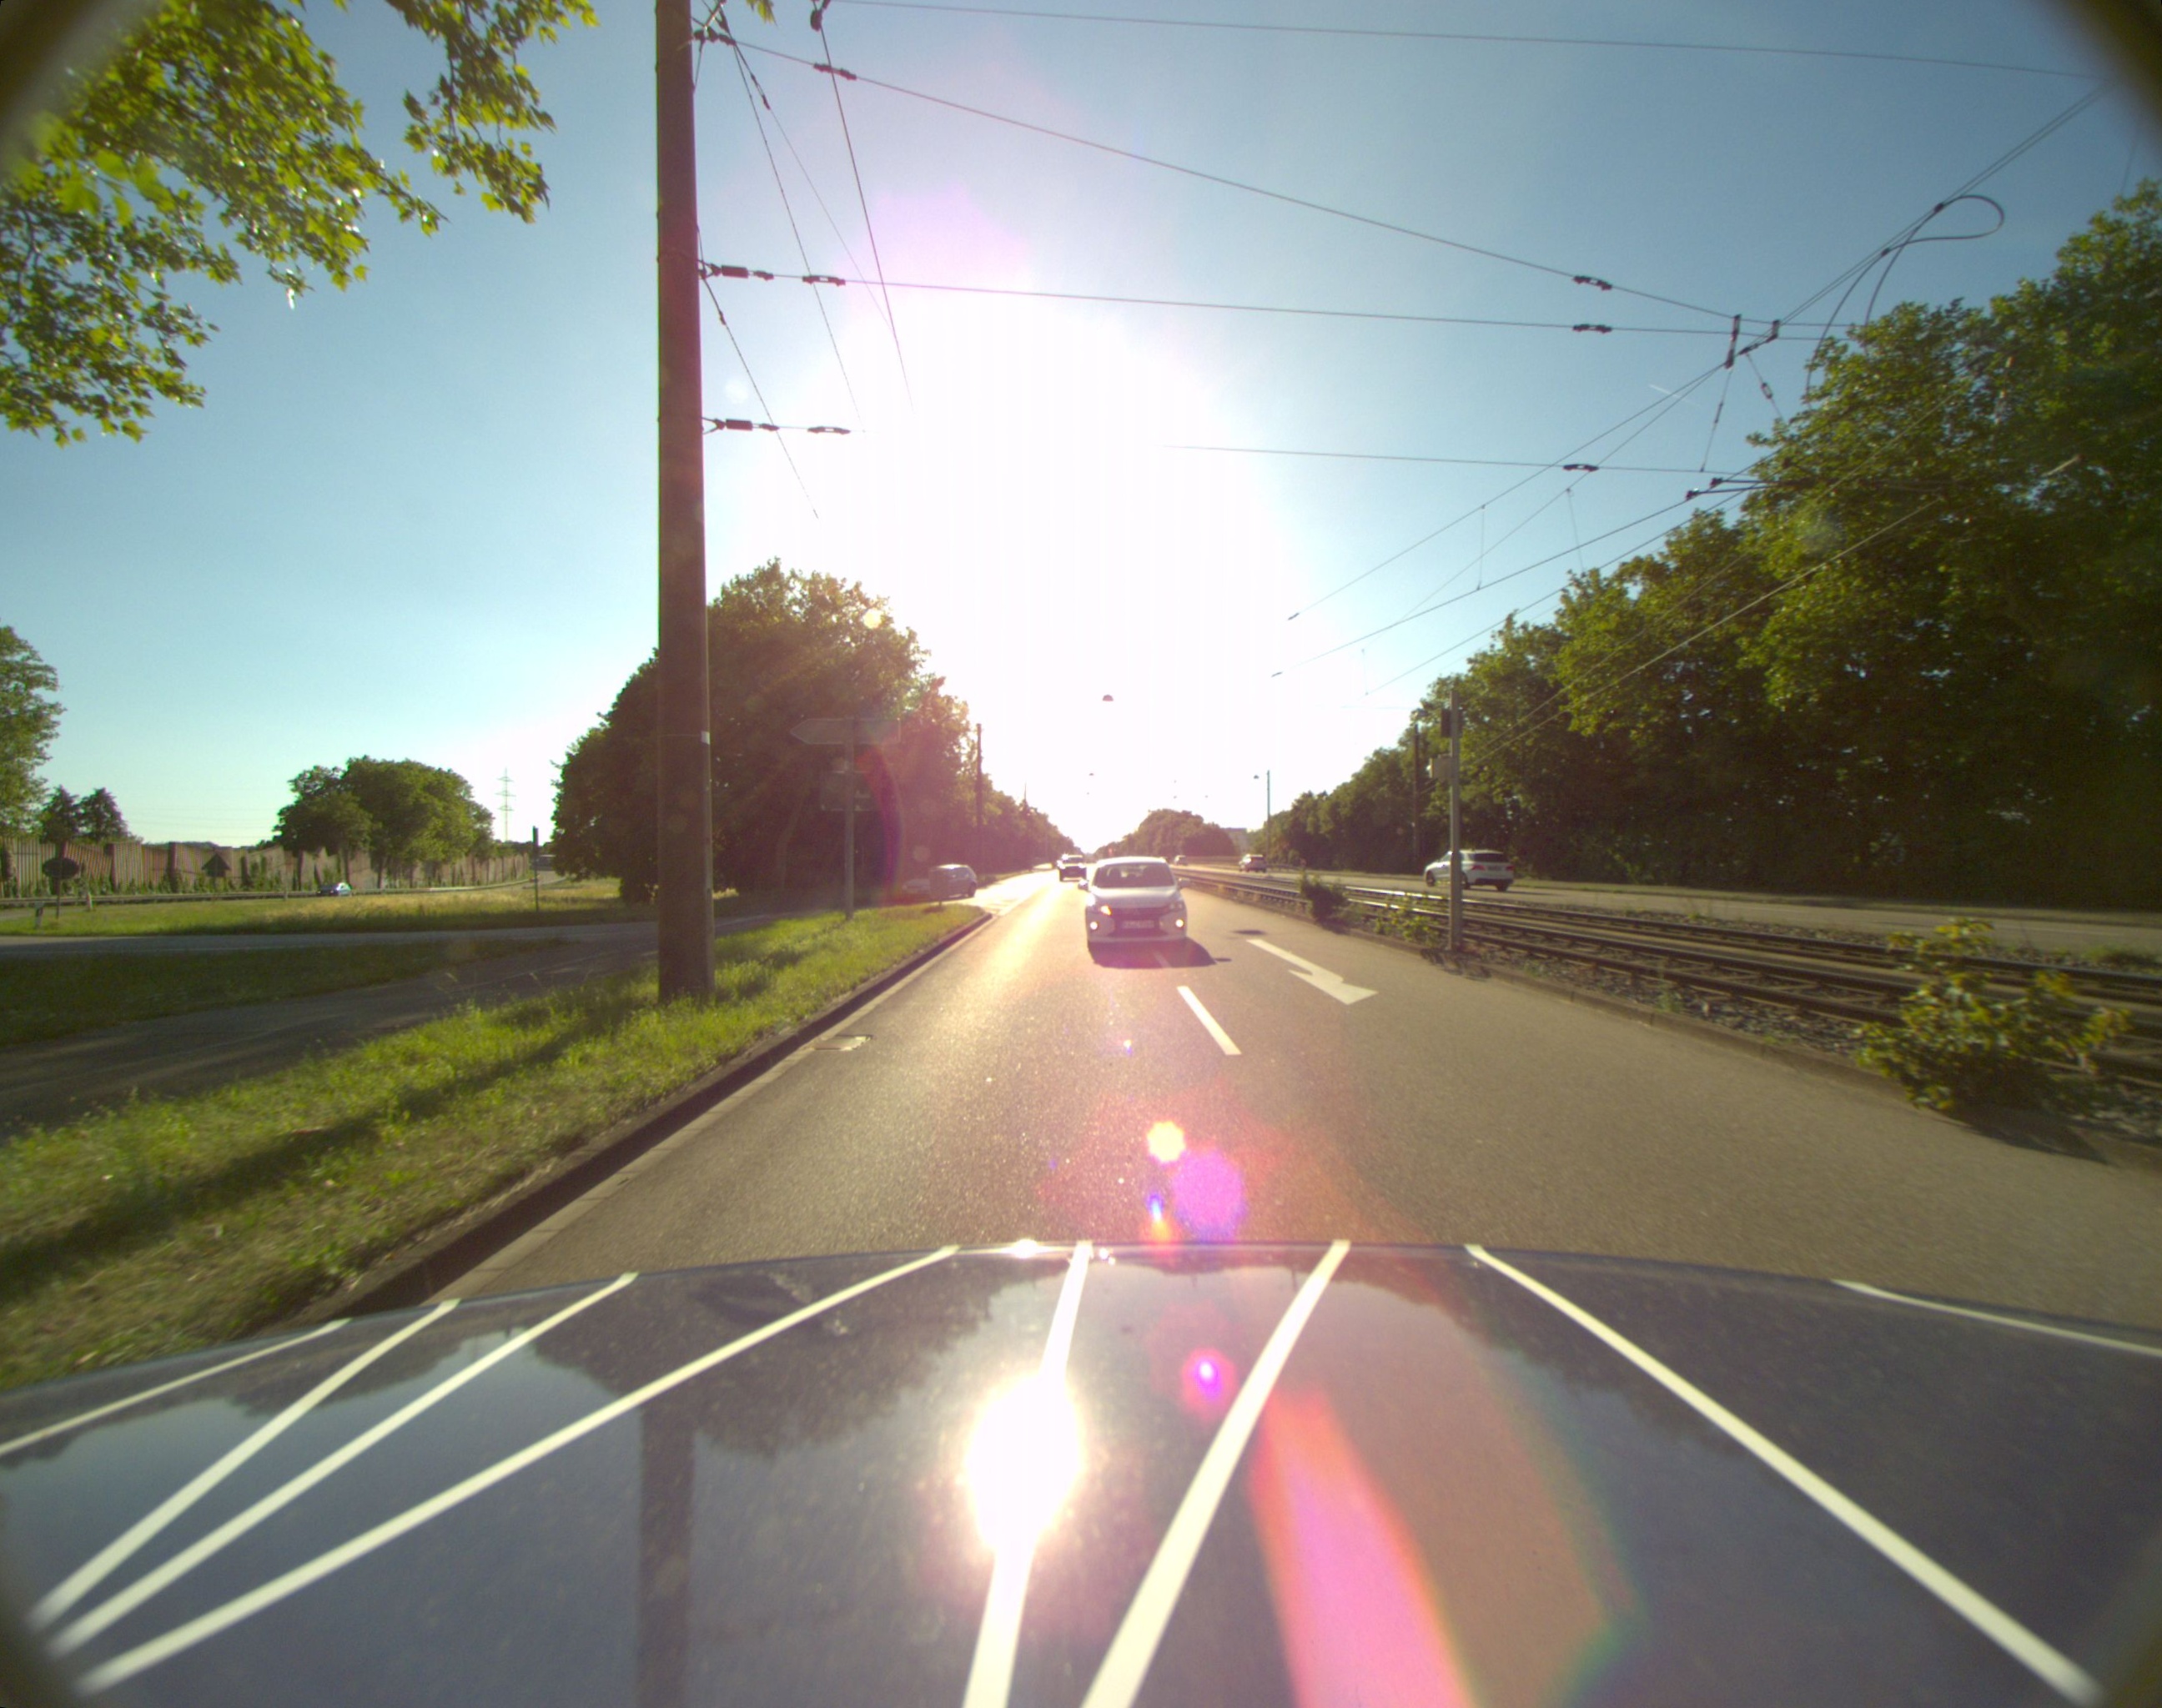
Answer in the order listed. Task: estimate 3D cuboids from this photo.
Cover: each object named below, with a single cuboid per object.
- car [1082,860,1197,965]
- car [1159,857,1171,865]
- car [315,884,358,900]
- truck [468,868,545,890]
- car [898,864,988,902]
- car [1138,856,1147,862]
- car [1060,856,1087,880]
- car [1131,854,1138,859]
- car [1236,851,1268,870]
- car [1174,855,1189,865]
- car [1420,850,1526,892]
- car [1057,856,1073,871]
[{"bbox_3d":[0.909,0.907,13.504,1.709,1.503,3.862,-2,0,0],"label":"car"},{"bbox_3d":[15.583,1.331,141.008,1.661,1.424,4.501,1,0,0],"label":"car"},{"bbox_3d":[-75.908,3.866,77.515,1.801,1.432,4.215,-2,1,-25],"label":"car"},{"bbox_3d":[-102.779,4.539,136.213,10.627,3.474,2.645,3,-1,-29],"label":"truck"},{"bbox_3d":[-5.882,1.201,32.841,1.690,1.409,4.142,-1,1,26],"label":"car"},{"bbox_3d":[15.253,1.248,188.412,1.759,1.406,4.876,2,0,-2],"label":"car"},{"bbox_3d":[-0.463,0.889,50.491,1.709,1.512,3.844,0,0,0],"label":"car"},{"bbox_3d":[15.311,0.749,216.734,1.713,1.571,4.800,0,0,-1],"label":"car"},{"bbox_3d":[16.786,0.630,74.740,1.851,1.724,4.930,2,0,-2],"label":"car"},{"bbox_3d":[16.097,0.944,122.082,1.696,1.547,4.190,1,0,-1],"label":"car"},{"bbox_3d":[17.291,0.684,33.840,1.968,1.697,4.942,1,0,-2],"label":"car"},{"bbox_3d":[-2.086,1.232,95.967,1.886,1.789,3.644,-2,0,-2],"label":"car"}]
